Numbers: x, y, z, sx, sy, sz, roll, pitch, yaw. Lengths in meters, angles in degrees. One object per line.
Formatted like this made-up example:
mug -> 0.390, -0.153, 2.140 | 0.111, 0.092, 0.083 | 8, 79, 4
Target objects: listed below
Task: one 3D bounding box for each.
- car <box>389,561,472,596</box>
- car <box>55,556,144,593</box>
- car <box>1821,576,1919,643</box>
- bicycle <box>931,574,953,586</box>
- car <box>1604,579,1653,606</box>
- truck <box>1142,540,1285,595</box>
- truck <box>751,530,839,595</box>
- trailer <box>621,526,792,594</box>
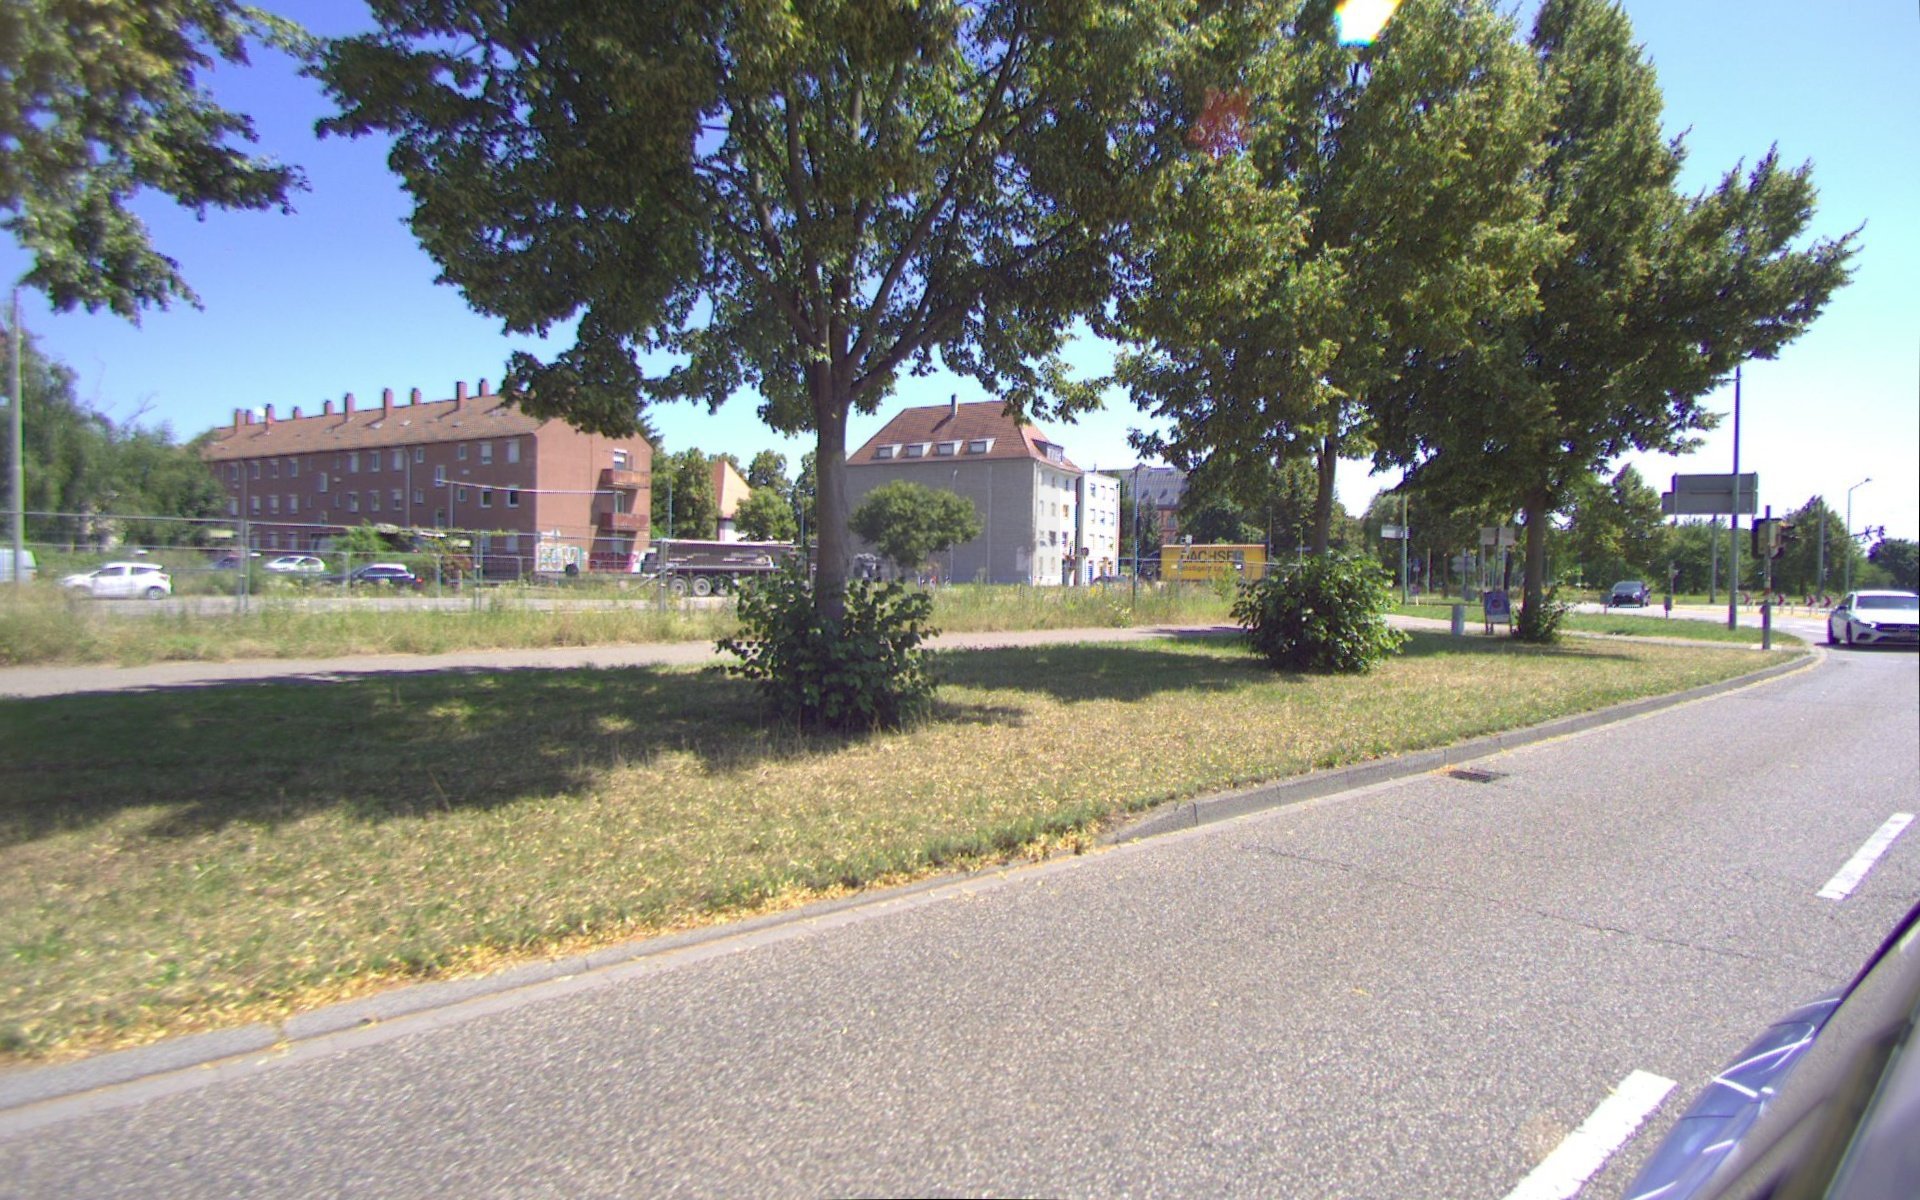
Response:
car -> -25.776, -1.029, 49.284 | 3.358, 1.633, 1.368 | 0, 2, -41
car -> -35.423, -1.035, 41.684 | 2.742, 1.423, 1.417 | 0, 3, -41
car -> 23.223, 0.237, 25.389 | 1.766, 1.565, 3.921 | 1, 0, 30
bicycle -> -1.577, -1.776, 89.286 | 1.974, 1.036, 0.701 | 3, 5, 37
car -> 37.946, -0.434, 57.524 | 1.962, 1.436, 3.961 | 1, 2, 28
truck -> 17.747, -2.288, 71.094 | 9.484, 3.704, 2.693 | 1, 1, 17
truck -> -9.651, -2.154, 59.040 | 4.861, 3.576, 3.171 | 1, 1, -11
trailer -> -14.139, -2.141, 56.878 | 8.822, 3.576, 3.165 | 0, 1, -35
